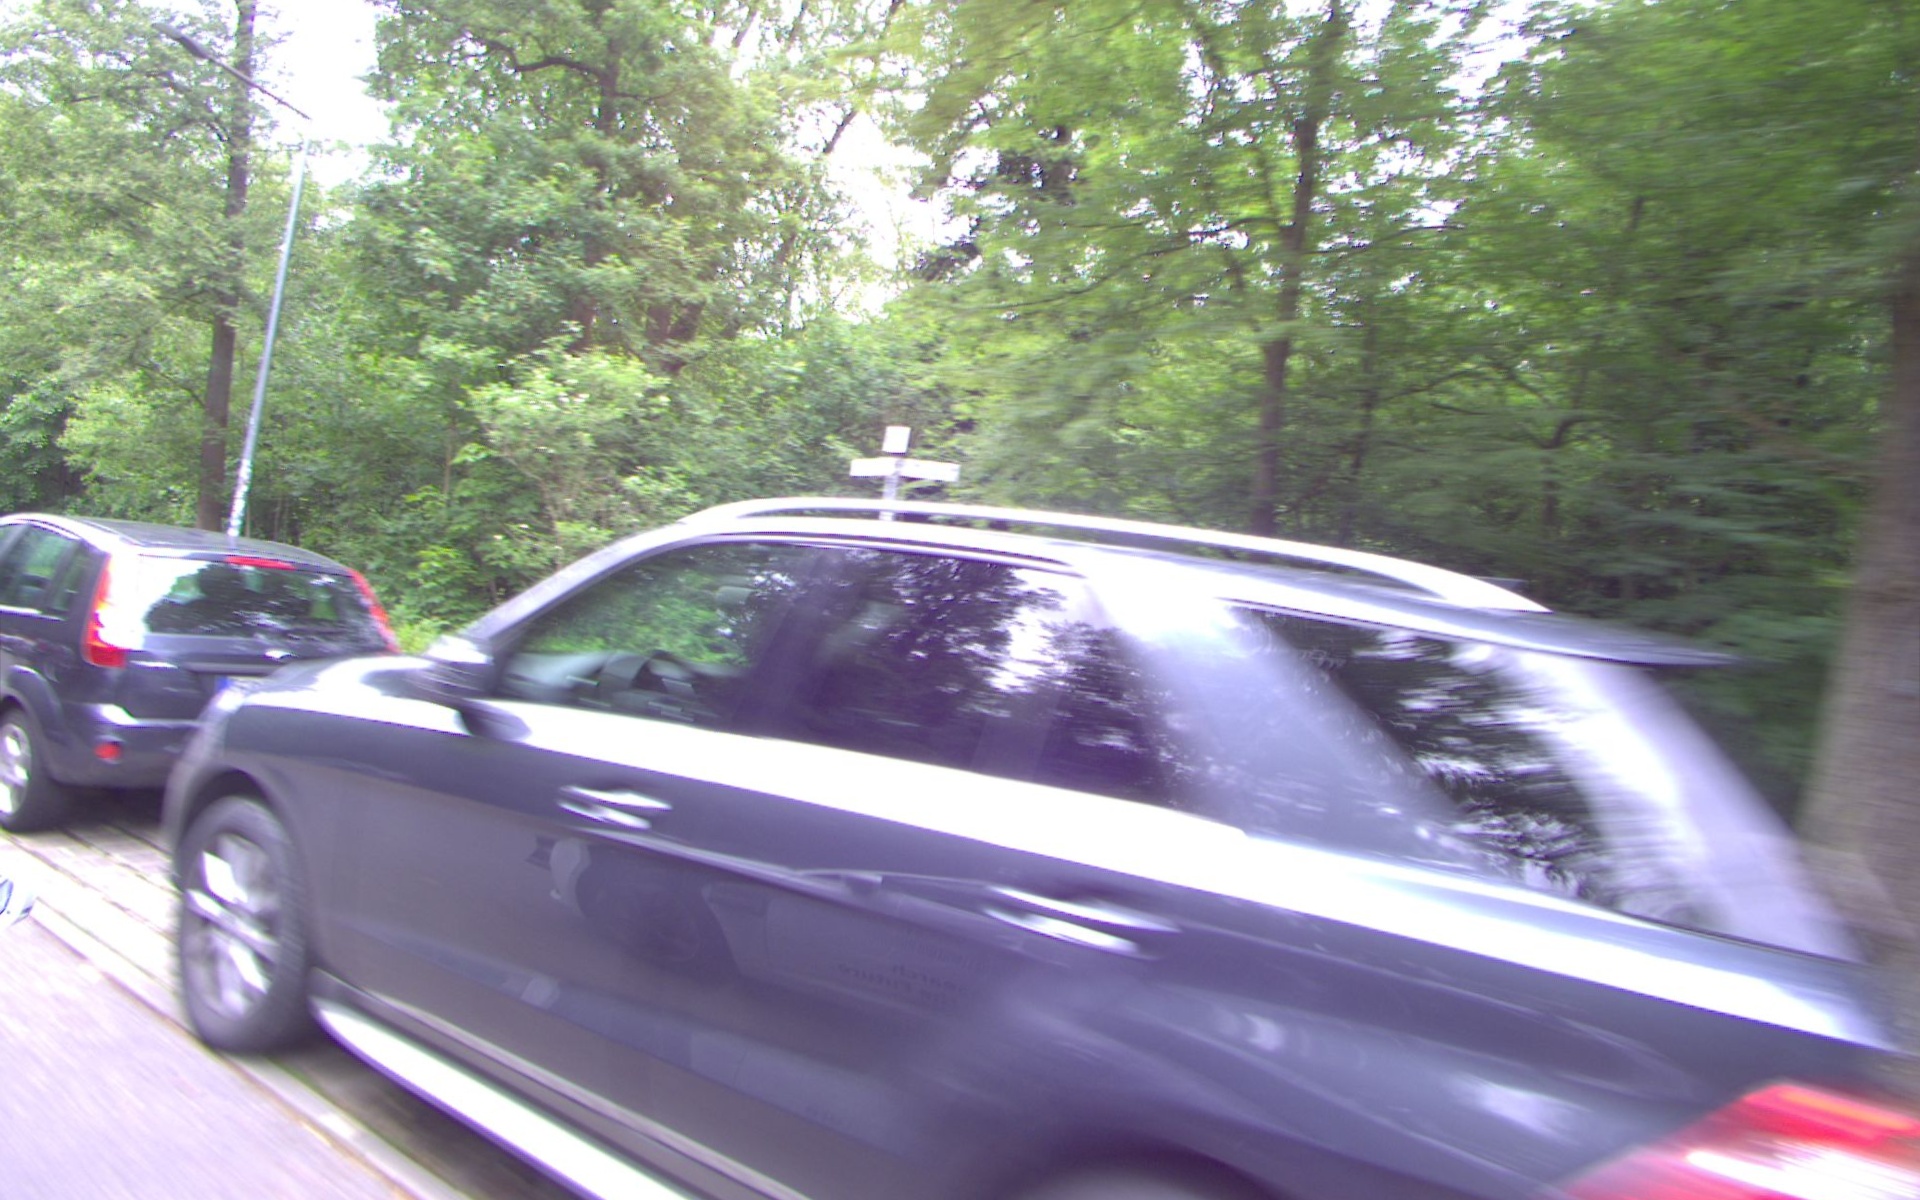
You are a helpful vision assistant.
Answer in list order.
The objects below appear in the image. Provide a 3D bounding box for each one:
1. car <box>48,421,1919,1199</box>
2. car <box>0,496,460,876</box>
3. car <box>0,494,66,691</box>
[{"bbox_3d":[-0.373,0.637,2.934,4.864,1.767,1.894,7,-2,31],"label":"car"},{"bbox_3d":[-4.983,0.256,5.900,4.021,1.521,1.602,7,-1,31],"label":"car"},{"bbox_3d":[-9.333,-0.322,8.216,4.079,1.495,1.641,7,-1,28],"label":"car"}]
